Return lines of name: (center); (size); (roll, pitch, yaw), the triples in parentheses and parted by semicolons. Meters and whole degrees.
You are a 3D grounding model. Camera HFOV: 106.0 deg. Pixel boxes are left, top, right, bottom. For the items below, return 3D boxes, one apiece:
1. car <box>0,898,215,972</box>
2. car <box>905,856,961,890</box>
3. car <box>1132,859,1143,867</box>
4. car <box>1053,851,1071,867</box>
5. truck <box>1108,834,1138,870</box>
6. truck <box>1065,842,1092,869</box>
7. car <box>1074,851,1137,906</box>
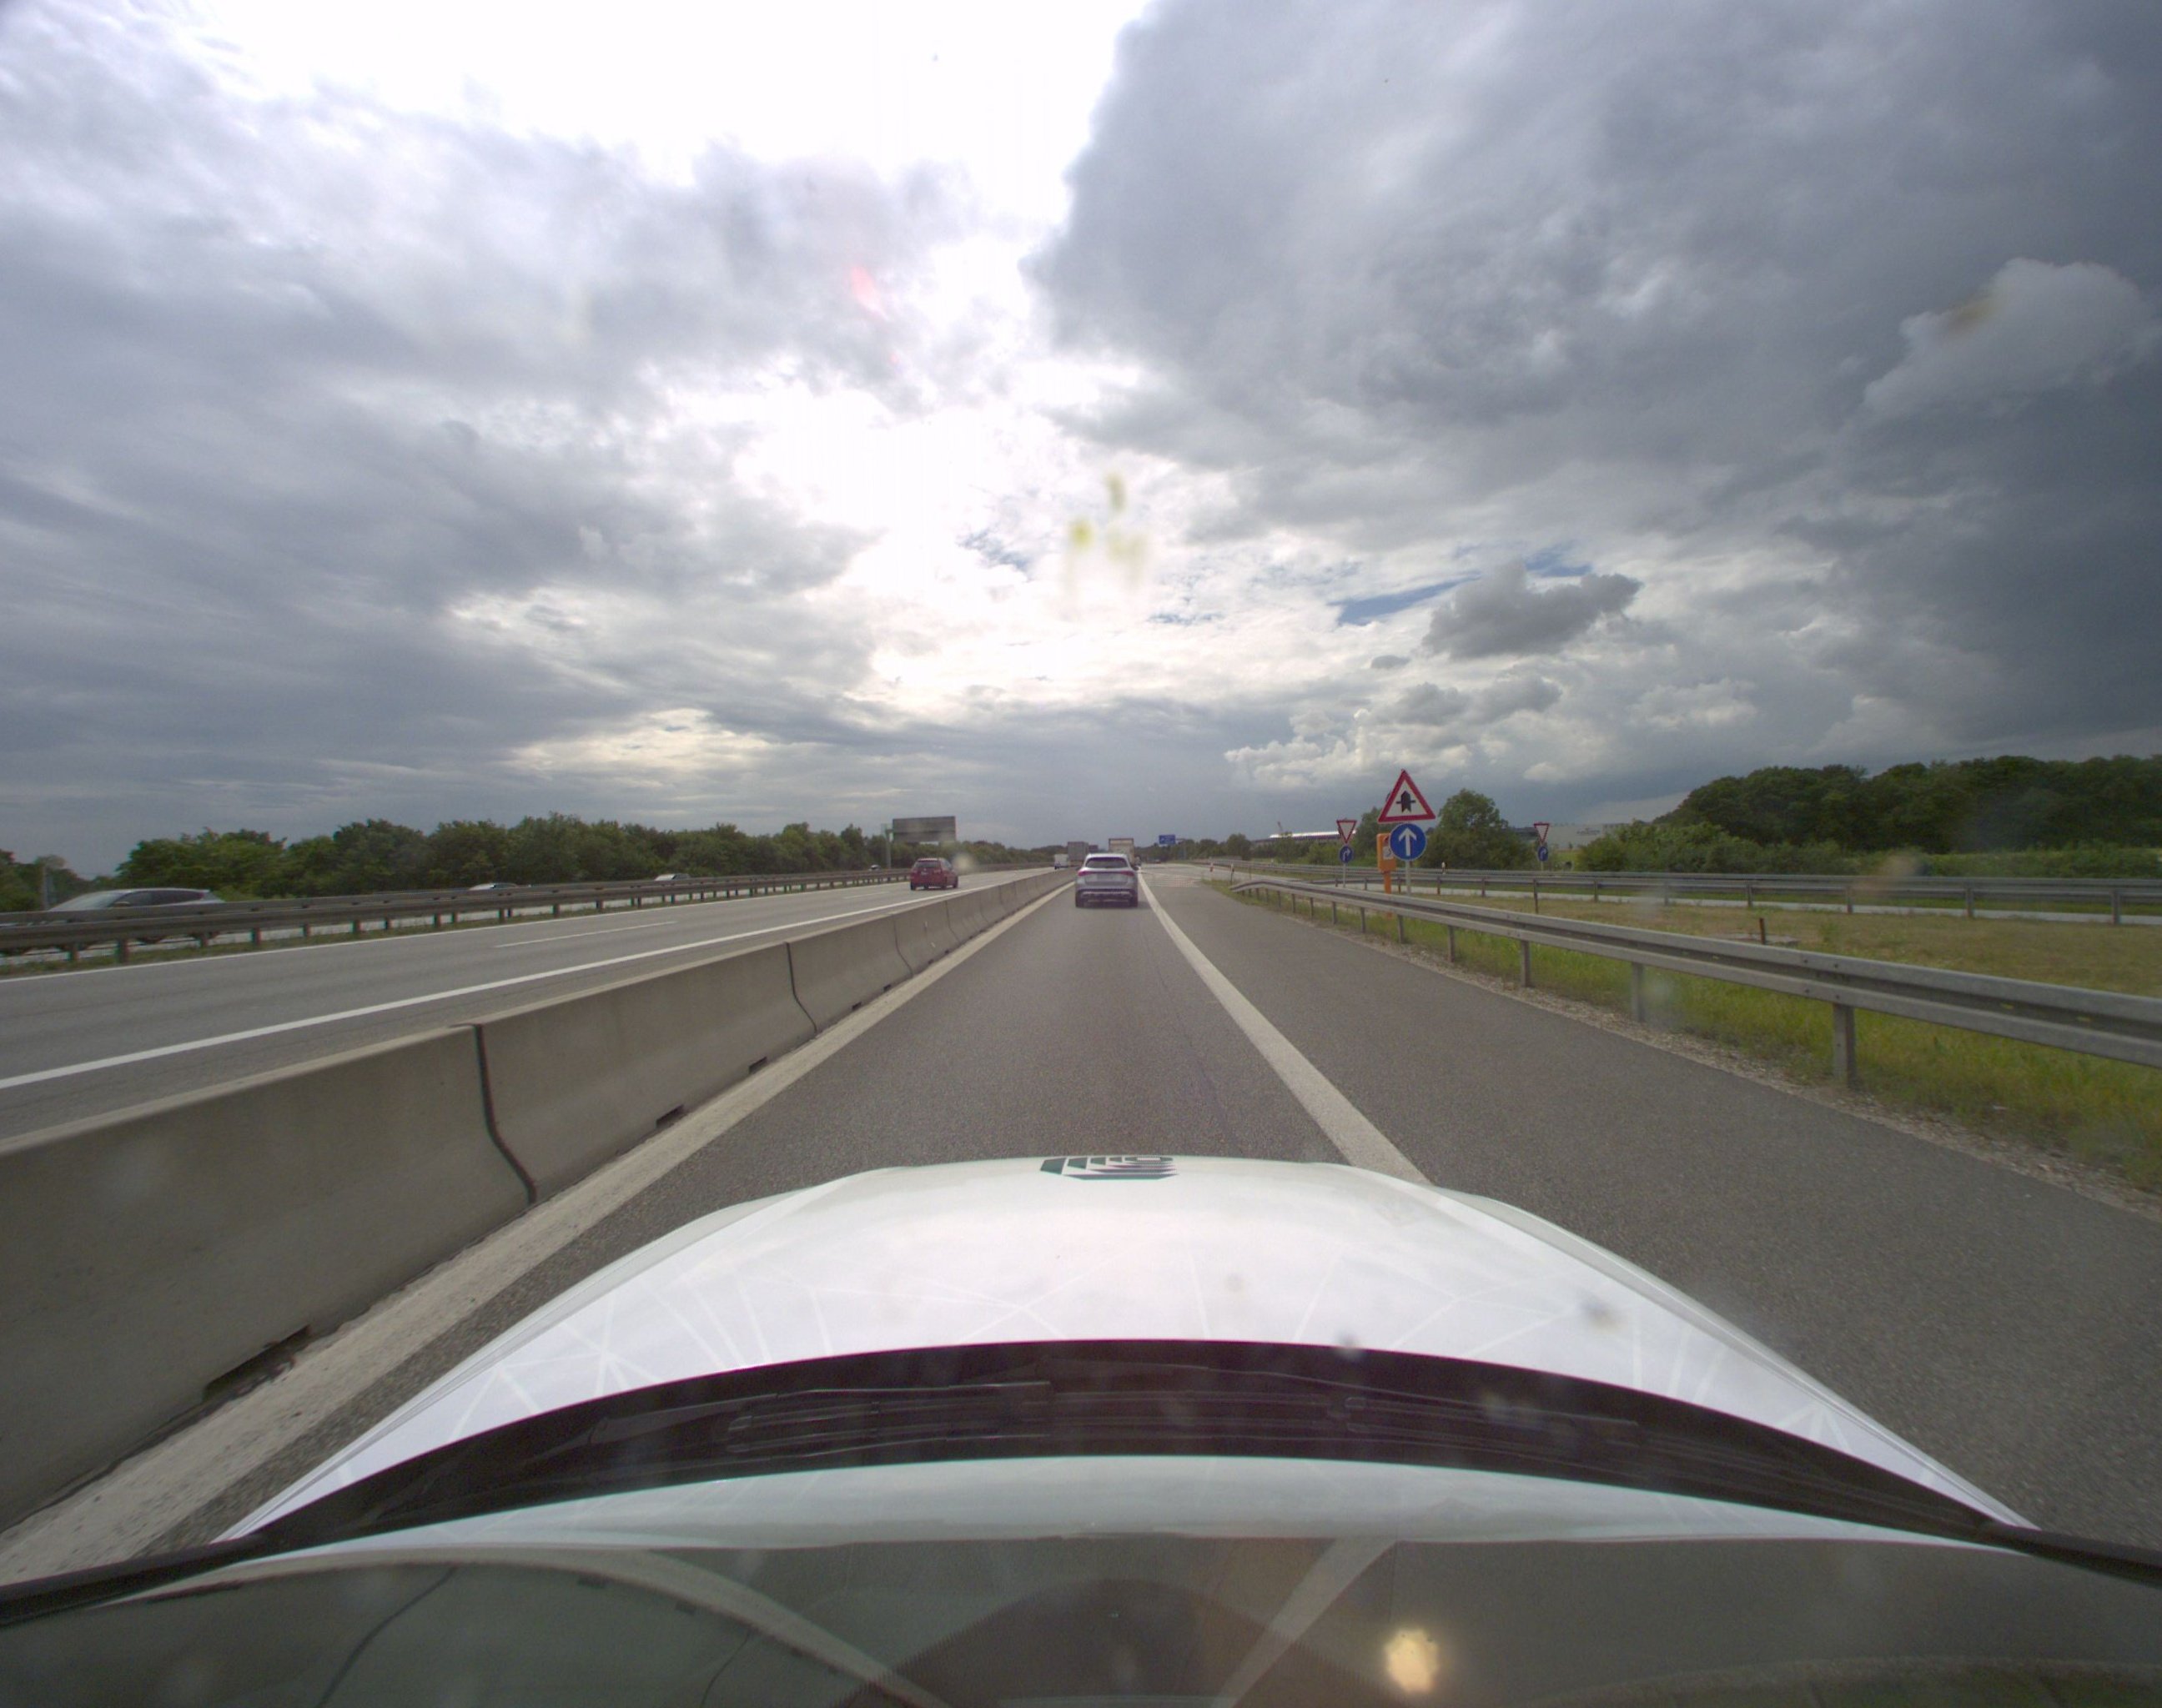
car: (-24.276, 1.905, 19.926); (1.697, 1.399, 4.005); (-1, 0, 4)
car: (-7.422, 0.929, 41.373); (1.812, 1.545, 4.358); (-1, 1, 3)
car: (9.033, 1.417, 129.506); (1.688, 1.288, 4.005); (-1, 0, 5)
car: (-2.560, 0.674, 109.083); (1.984, 2.013, 4.380); (-1, 1, 4)
truck: (3.892, -0.132, 75.900); (2.558, 3.126, 8.640); (-1, 0, 3)
truck: (-0.288, 0.047, 130.585); (3.170, 4.018, 16.091); (-1, 1, 3)
car: (0.793, 0.691, 25.524); (1.812, 1.514, 4.003); (-1, 1, 2)
